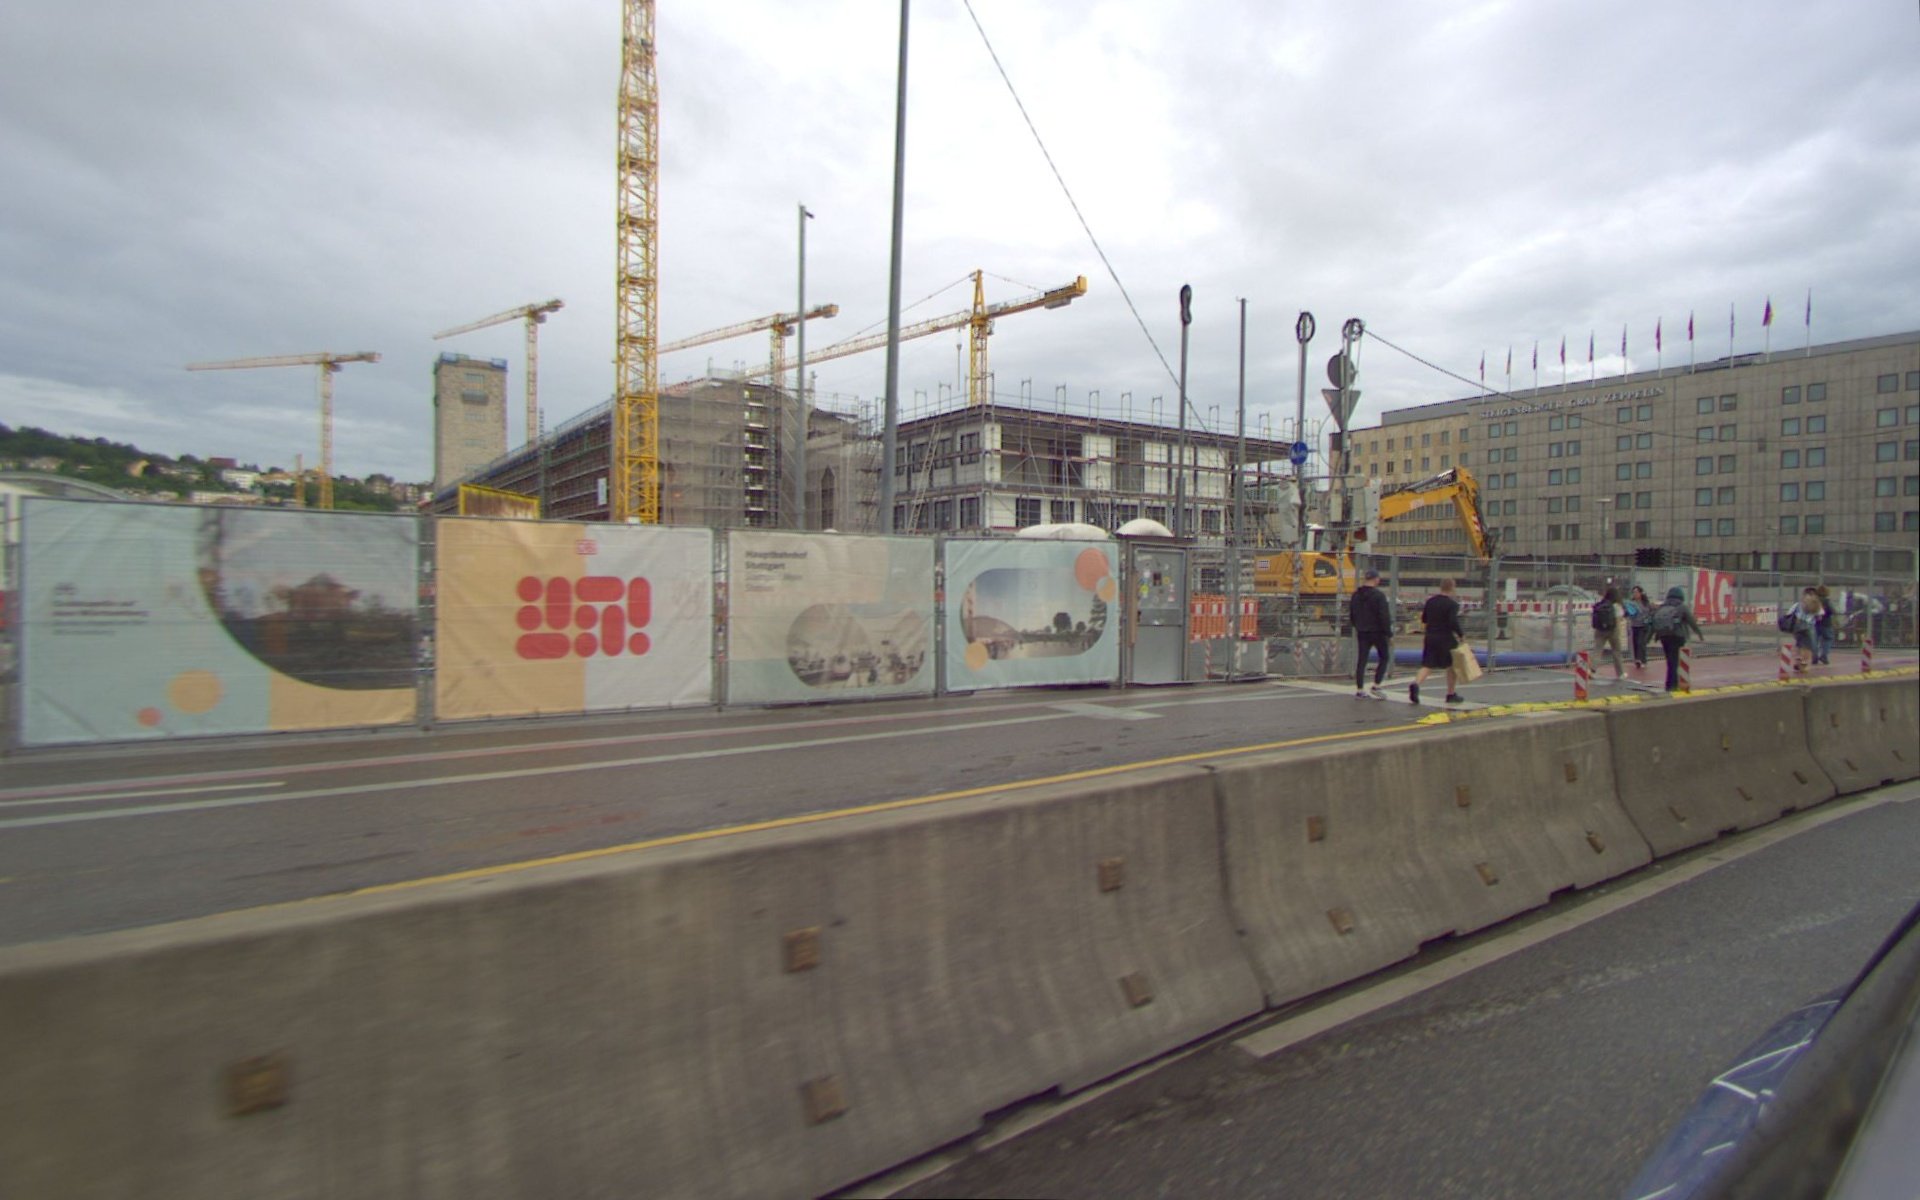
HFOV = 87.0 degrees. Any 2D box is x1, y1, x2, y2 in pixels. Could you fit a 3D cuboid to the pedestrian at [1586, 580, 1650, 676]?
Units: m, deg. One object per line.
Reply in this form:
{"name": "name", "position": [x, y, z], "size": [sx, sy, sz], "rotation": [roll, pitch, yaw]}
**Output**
{"name": "pedestrian", "position": [11.526, 0.466, 17.720], "size": [0.886, 1.600, 0.669], "rotation": [0, 2, -41]}

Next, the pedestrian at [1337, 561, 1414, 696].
{"name": "pedestrian", "position": [5.647, 0.367, 13.760], "size": [0.752, 1.765, 0.648], "rotation": [0, 2, -41]}

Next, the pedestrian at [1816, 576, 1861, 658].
{"name": "pedestrian", "position": [19.560, 0.360, 22.525], "size": [0.574, 1.783, 0.648], "rotation": [0, 2, -43]}

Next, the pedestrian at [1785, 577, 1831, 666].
{"name": "pedestrian", "position": [16.990, 0.416, 20.271], "size": [0.666, 1.729, 0.585], "rotation": [0, 2, -43]}

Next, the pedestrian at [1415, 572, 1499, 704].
{"name": "pedestrian", "position": [6.598, 0.470, 13.442], "size": [0.931, 1.666, 0.648], "rotation": [0, 2, -41]}

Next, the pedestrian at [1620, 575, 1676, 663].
{"name": "pedestrian", "position": [13.913, 0.365, 20.467], "size": [0.675, 1.727, 0.746], "rotation": [0, 2, -41]}

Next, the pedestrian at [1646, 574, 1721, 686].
{"name": "pedestrian", "position": [11.489, 0.454, 16.073], "size": [0.760, 1.711, 0.656], "rotation": [0, 2, -30]}

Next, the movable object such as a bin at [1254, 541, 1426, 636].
{"name": "movable object such as a bin", "position": [10.573, -0.326, 28.413], "size": [4.051, 2.567, 2.000], "rotation": [0, 1, 1]}

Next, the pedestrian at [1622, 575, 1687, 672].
{"name": "pedestrian", "position": [12.610, 0.414, 18.380], "size": [0.760, 1.711, 0.656], "rotation": [0, 2, -30]}
